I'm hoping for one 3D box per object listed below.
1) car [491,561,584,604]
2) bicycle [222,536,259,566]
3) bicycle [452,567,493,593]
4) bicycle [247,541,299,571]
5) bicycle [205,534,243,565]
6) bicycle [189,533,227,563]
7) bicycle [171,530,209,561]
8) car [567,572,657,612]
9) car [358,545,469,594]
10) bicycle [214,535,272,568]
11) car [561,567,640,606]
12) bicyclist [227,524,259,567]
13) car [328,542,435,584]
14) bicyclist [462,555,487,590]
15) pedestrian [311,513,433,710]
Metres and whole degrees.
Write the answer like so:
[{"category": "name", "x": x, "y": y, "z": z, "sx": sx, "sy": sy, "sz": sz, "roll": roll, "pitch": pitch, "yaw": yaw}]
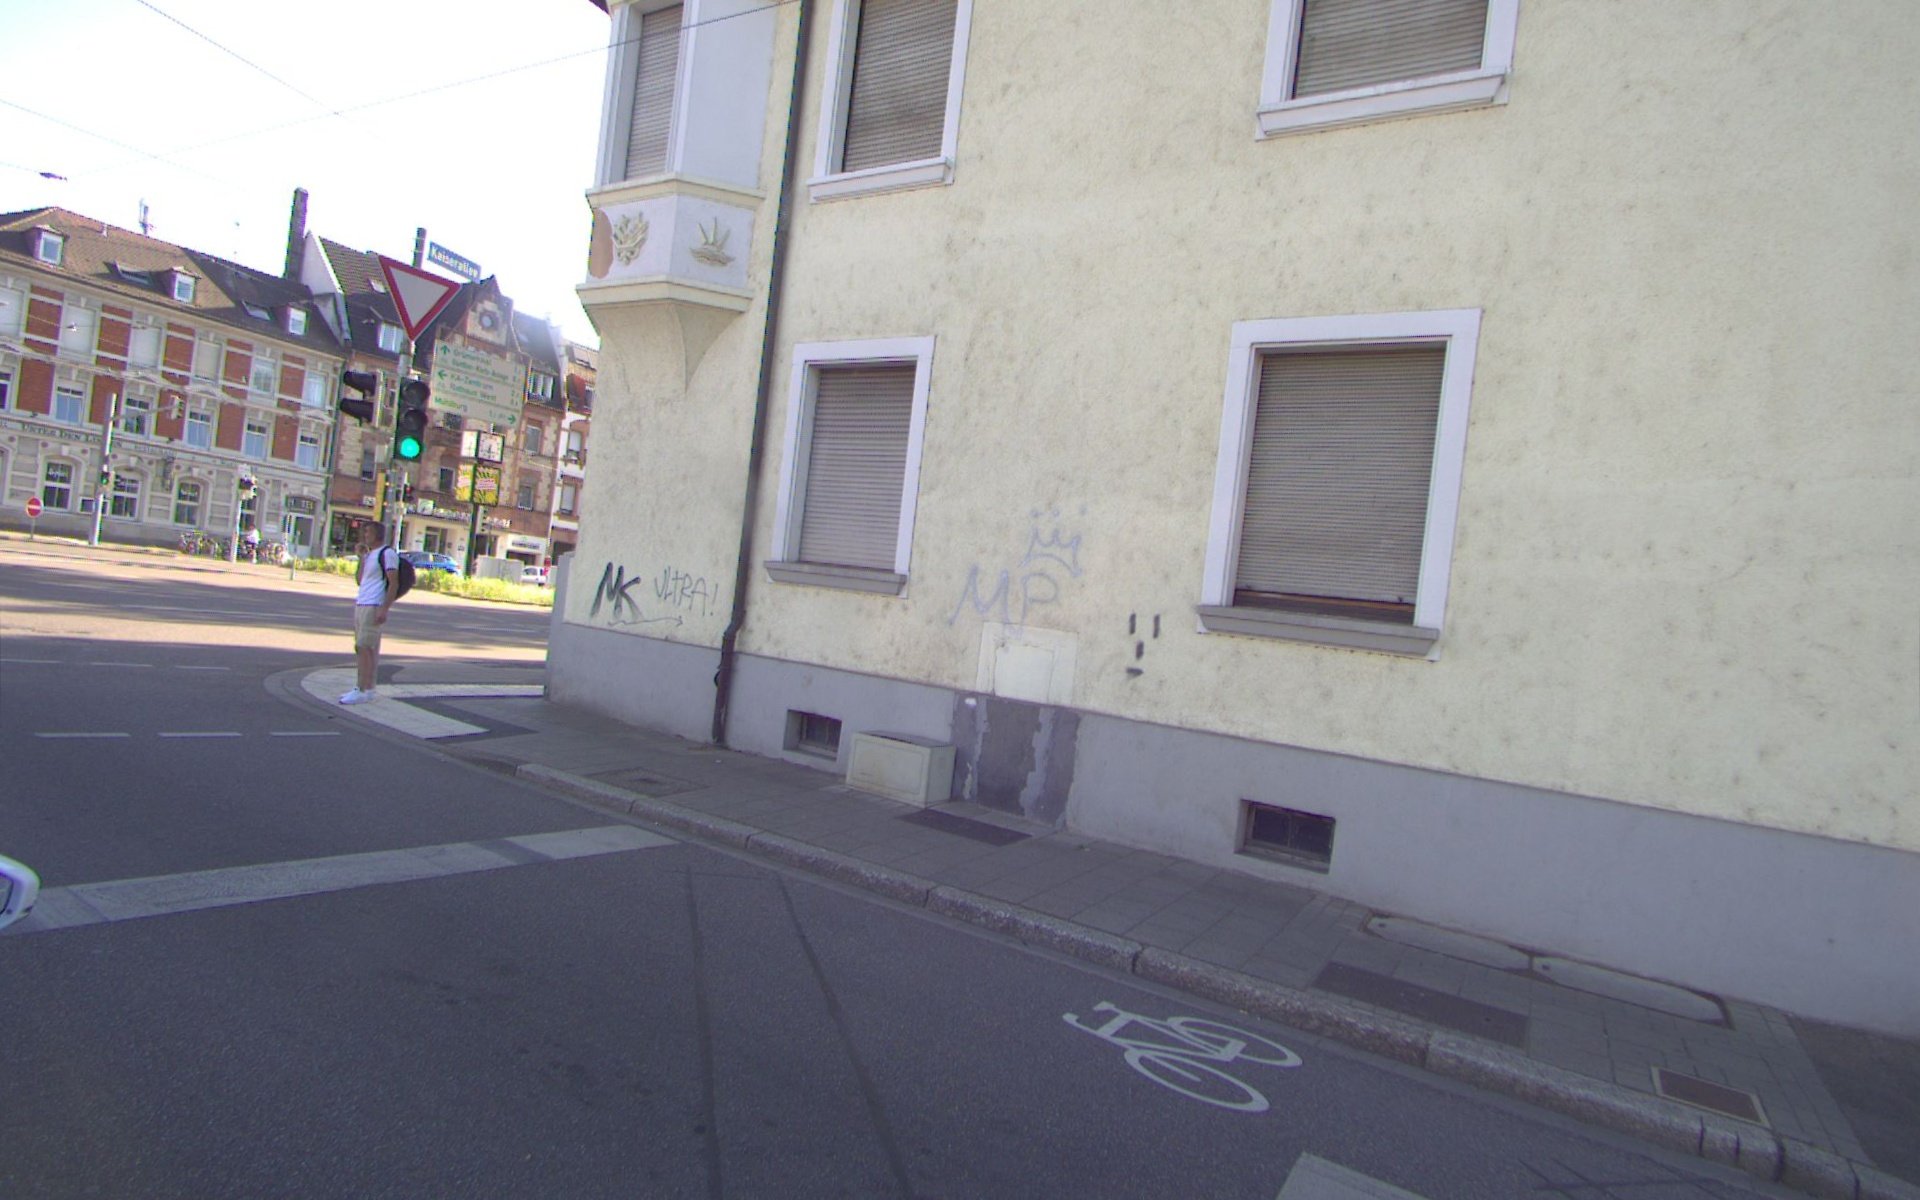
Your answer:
[{"category": "car", "x": -21.910, "y": -0.900, "z": 52.335, "sx": 1.922, "sy": 1.688, "sz": 3.993, "roll": 7, "pitch": -1, "yaw": 31}, {"category": "bicycle", "x": -33.836, "y": -2.314, "z": 47.315, "sx": 1.935, "sy": 1.205, "sz": 0.678, "roll": 7, "pitch": 0, "yaw": 33}, {"category": "bicycle", "x": -26.913, "y": -1.122, "z": 55.592, "sx": 0.591, "sy": 1.205, "sz": 1.965, "roll": 7, "pitch": -1, "yaw": 27}, {"category": "bicycle", "x": -32.871, "y": -2.090, "z": 48.167, "sx": 0.667, "sy": 1.205, "sz": 1.968, "roll": 7, "pitch": -1, "yaw": 20}, {"category": "bicycle", "x": -34.194, "y": -2.356, "z": 46.742, "sx": 1.935, "sy": 1.205, "sz": 0.678, "roll": 7, "pitch": 0, "yaw": 33}, {"category": "bicycle", "x": -34.534, "y": -2.394, "z": 46.186, "sx": 1.935, "sy": 1.205, "sz": 0.678, "roll": 7, "pitch": 0, "yaw": 33}, {"category": "bicycle", "x": -34.873, "y": -2.479, "z": 45.573, "sx": 1.935, "sy": 1.205, "sz": 0.678, "roll": 7, "pitch": 0, "yaw": 33}, {"category": "car", "x": -19.479, "y": -0.404, "z": 56.452, "sx": 1.922, "sy": 1.688, "sz": 4.480, "roll": 7, "pitch": -1, "yaw": 31}, {"category": "car", "x": -25.393, "y": -1.379, "z": 46.831, "sx": 1.922, "sy": 1.688, "sz": 3.993, "roll": 7, "pitch": -1, "yaw": 31}, {"category": "bicycle", "x": -32.385, "y": -2.190, "z": 45.457, "sx": 0.592, "sy": 1.205, "sz": 1.962, "roll": 7, "pitch": -1, "yaw": 34}, {"category": "car", "x": -23.229, "y": -0.840, "z": 65.186, "sx": 1.922, "sy": 1.988, "sz": 4.411, "roll": 7, "pitch": -1, "yaw": 31}, {"category": "bicyclist", "x": -32.368, "y": -2.461, "z": 45.434, "sx": 0.592, "sy": 1.785, "sz": 0.873, "roll": 7, "pitch": 0, "yaw": 34}, {"category": "car", "x": -27.818, "y": -1.739, "z": 48.468, "sx": 1.815, "sy": 1.429, "sz": 3.993, "roll": 7, "pitch": -1, "yaw": 31}, {"category": "bicyclist", "x": -26.858, "y": -1.506, "z": 55.610, "sx": 0.591, "sy": 1.785, "sz": 0.905, "roll": 7, "pitch": 0, "yaw": 27}, {"category": "pedestrian", "x": -5.606, "y": 0.100, "z": 9.619, "sx": 0.661, "sy": 1.764, "sz": 0.689, "roll": 5, "pitch": 2, "yaw": 2}]
